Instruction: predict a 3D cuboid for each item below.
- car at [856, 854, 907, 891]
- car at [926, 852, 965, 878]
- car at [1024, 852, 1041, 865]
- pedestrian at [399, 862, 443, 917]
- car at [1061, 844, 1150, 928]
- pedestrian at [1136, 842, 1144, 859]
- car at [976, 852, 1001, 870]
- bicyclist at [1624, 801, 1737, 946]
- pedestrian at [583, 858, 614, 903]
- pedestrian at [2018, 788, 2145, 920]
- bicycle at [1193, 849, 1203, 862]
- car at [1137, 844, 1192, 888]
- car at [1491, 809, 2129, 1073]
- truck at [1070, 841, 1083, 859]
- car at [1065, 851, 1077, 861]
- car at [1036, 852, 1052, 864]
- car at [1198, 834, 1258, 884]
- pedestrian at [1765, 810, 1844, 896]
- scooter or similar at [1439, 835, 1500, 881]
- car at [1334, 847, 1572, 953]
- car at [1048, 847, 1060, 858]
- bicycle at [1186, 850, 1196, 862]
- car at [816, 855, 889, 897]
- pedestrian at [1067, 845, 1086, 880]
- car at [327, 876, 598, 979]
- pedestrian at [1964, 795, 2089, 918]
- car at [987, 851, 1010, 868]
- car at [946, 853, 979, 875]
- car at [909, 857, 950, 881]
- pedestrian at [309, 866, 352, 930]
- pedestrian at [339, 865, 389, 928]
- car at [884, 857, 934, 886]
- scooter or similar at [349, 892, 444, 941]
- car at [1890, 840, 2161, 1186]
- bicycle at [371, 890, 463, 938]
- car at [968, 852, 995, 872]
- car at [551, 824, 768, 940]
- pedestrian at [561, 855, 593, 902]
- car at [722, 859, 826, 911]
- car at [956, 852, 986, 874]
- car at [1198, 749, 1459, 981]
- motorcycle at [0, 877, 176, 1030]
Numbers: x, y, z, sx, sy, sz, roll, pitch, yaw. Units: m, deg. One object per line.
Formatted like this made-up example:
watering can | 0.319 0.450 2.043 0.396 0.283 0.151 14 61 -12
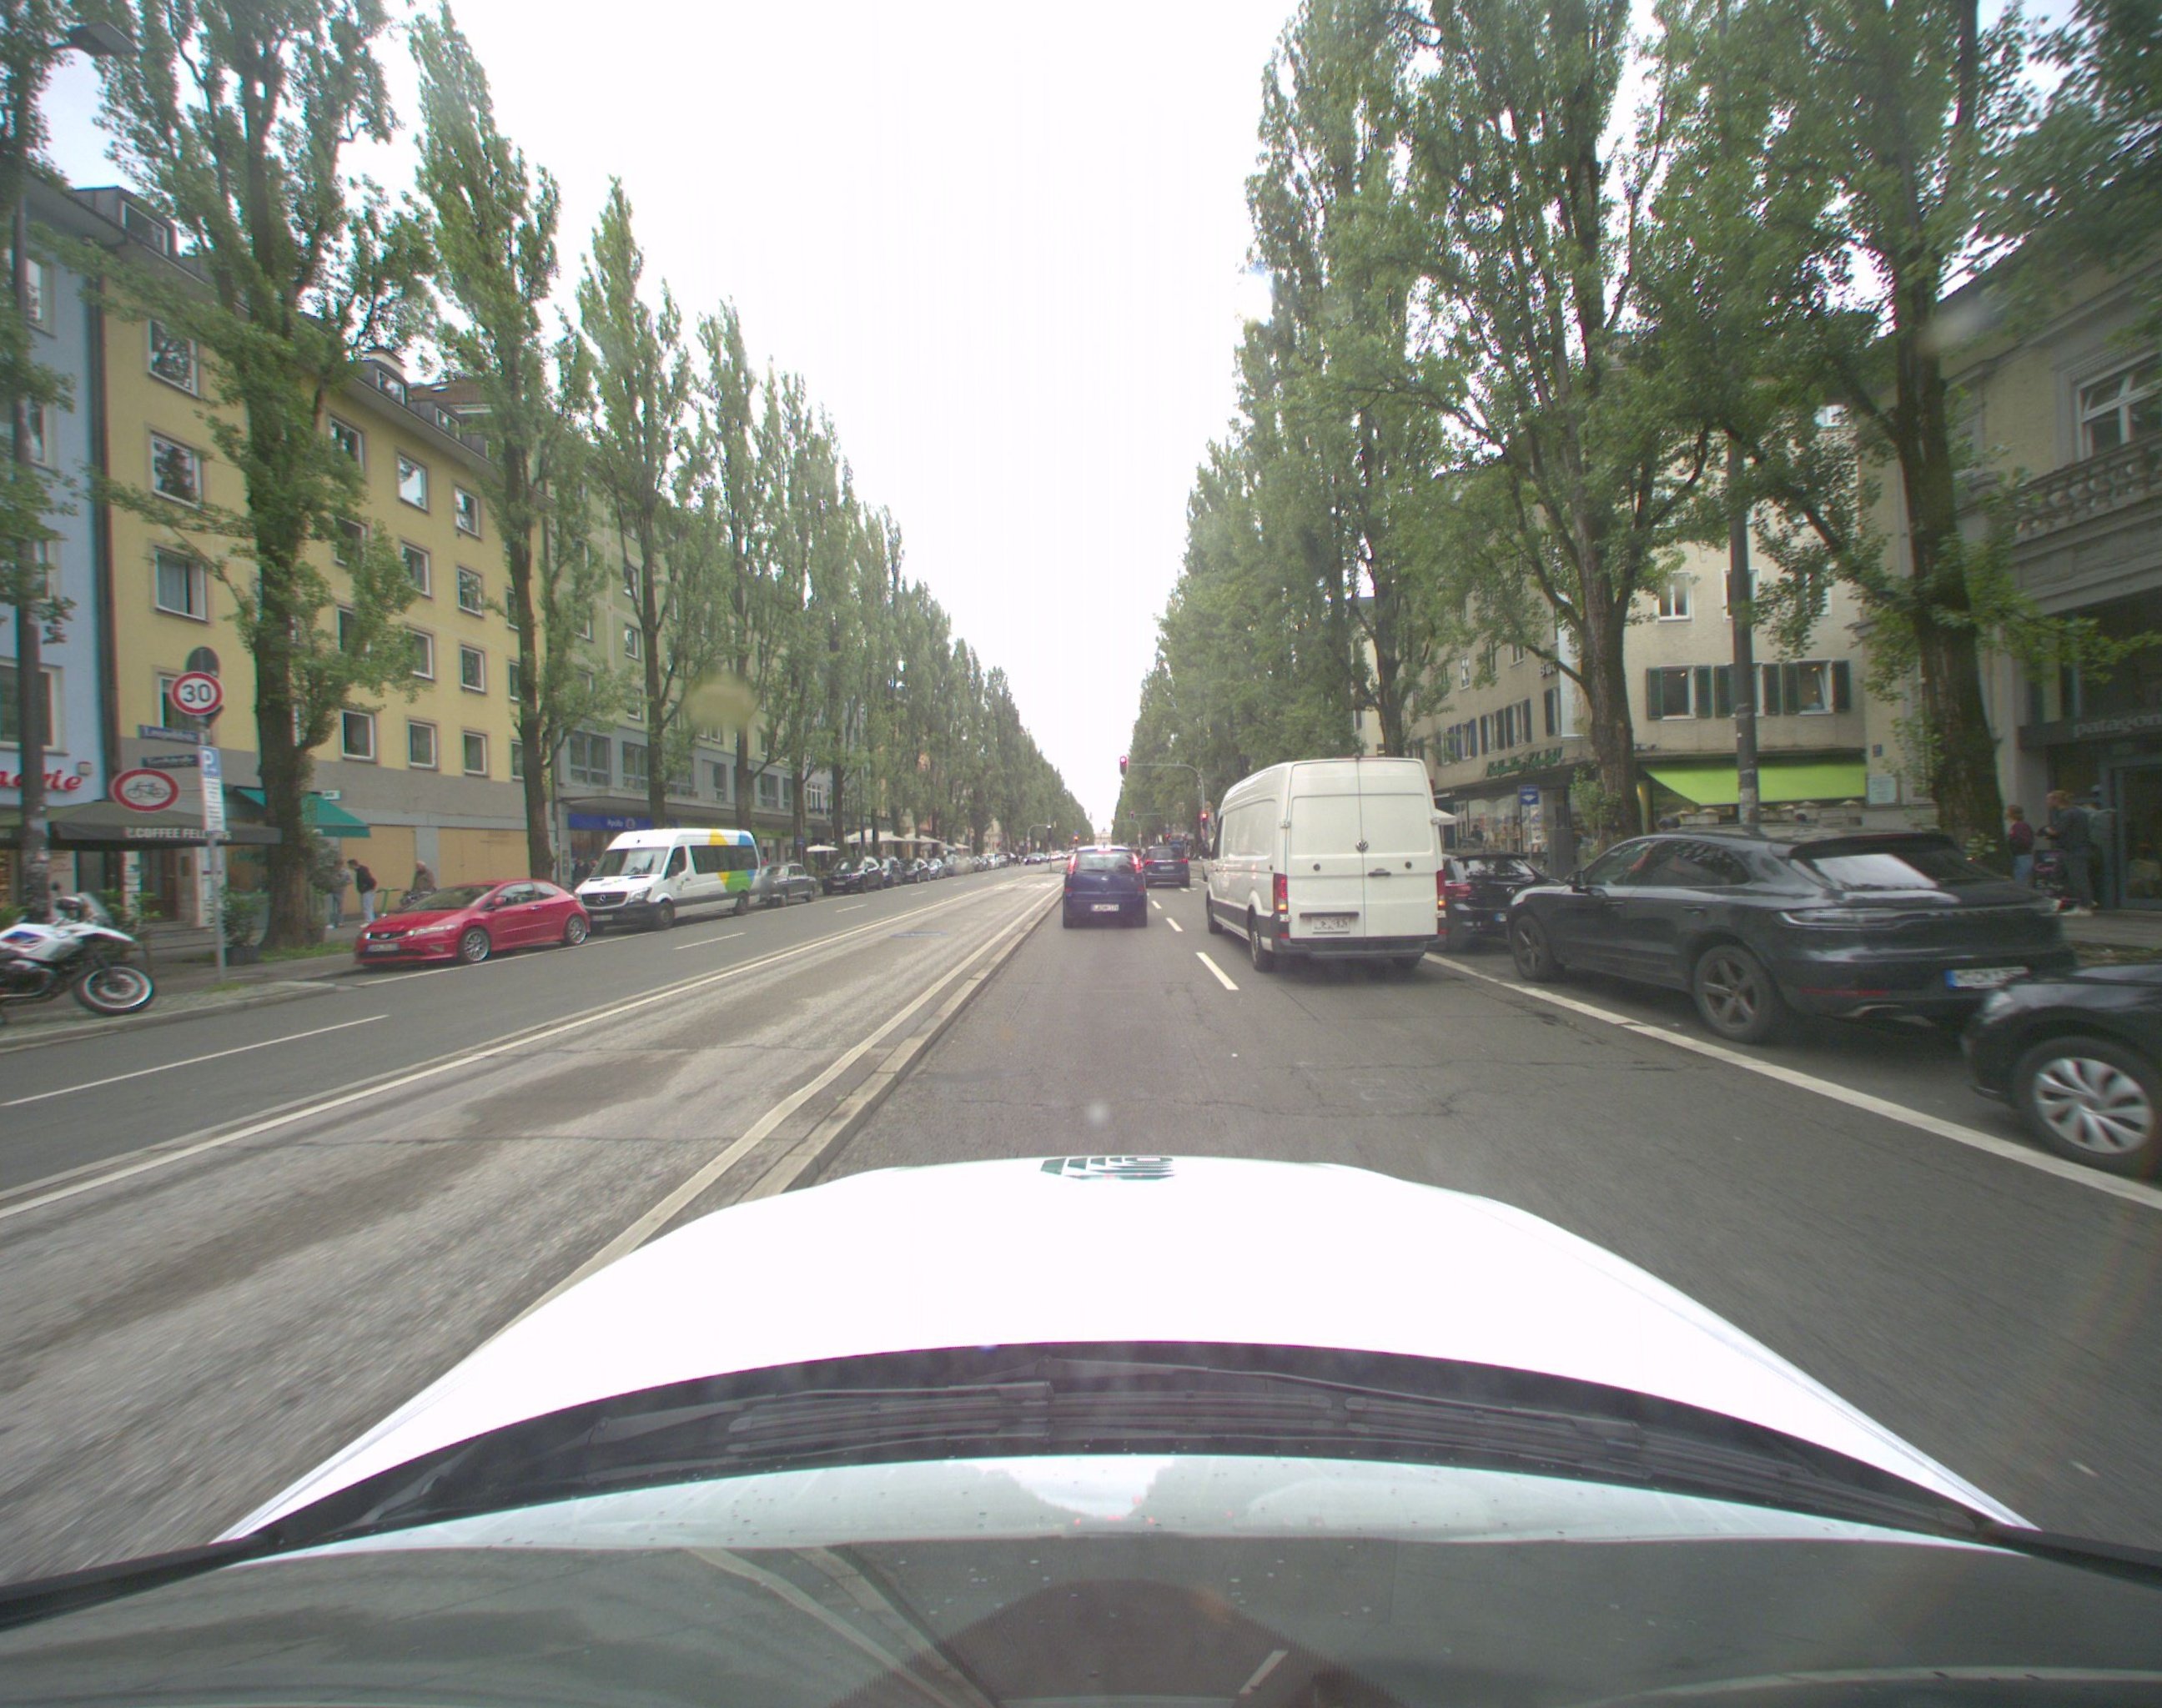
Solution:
car | -10.464 0.923 43.036 1.705 1.721 3.920 -4 0 -1
car | -9.865 0.758 59.508 1.859 1.665 4.402 -4 0 2
car | -6.014 0.520 101.118 1.691 1.462 4.714 -4 0 2
pedestrian | -20.229 1.079 24.972 0.694 1.636 0.727 -2 0 4
car | 0.536 0.597 17.468 1.665 1.568 4.002 -1 0 2
pedestrian | 6.487 -0.404 89.658 0.719 1.827 0.885 0 0 -8
car | -9.218 0.686 81.617 1.859 1.665 4.122 -4 0 1
bicyclist | 7.755 0.240 10.571 0.764 1.766 0.885 -2 0 1
pedestrian | -19.061 1.045 32.167 0.694 1.700 0.728 -2 0 6
pedestrian | 14.360 -0.009 11.712 0.772 1.796 0.873 -2 0 -12
bicycle | 12.303 0.161 85.701 0.770 1.349 2.450 -2 0 1
car | 3.297 0.438 32.632 1.889 1.622 4.002 -1 0 2
car | 5.729 0.538 7.368 1.797 1.637 4.447 -1 0 0
truck | -0.831 -0.820 165.356 2.374 3.346 7.113 -2 0 2
car | -1.661 0.303 135.569 1.728 1.465 3.366 -2 0 1
car | -4.971 0.499 109.252 1.739 1.434 4.131 -4 0 2
car | 6.231 0.187 34.932 1.781 1.946 4.732 -2 0 1
pedestrian | 14.713 -0.021 16.588 0.795 1.677 0.877 -2 0 1
scooter or similar | 12.451 0.088 26.184 0.634 1.376 2.493 -3 1 -2
car | 5.692 0.605 13.134 1.705 1.393 4.340 -1 0 -2
car | -4.526 -0.293 137.093 1.859 1.665 4.122 -2 0 1
bicycle | 12.387 0.191 91.835 0.770 1.349 2.450 -2 0 1
car | -10.457 0.964 37.657 1.859 1.664 4.612 -4 0 2
pedestrian | -0.215 0.421 39.790 0.857 1.684 0.626 -2 0 -2
car | -11.260 1.244 15.273 1.731 1.419 4.150 -4 0 2
pedestrian | 13.564 0.033 11.706 0.798 1.677 0.873 -2 0 -13
car | -9.012 0.608 88.892 1.859 1.665 4.122 -4 0 1
car | -9.611 0.785 66.076 1.859 1.665 4.122 -4 0 1
car | -9.972 0.967 53.964 1.727 1.425 4.145 -4 0 2
pedestrian | -19.623 1.147 21.300 0.691 1.636 0.567 -2 0 25
pedestrian | -19.130 1.129 21.731 0.691 1.636 0.731 -2 0 26
car | -10.162 0.997 48.407 1.792 1.488 4.352 -4 0 2
scooter or similar | -15.805 1.433 18.815 1.768 1.026 0.421 -3 0 -2
car | 5.352 0.663 2.555 1.689 1.416 3.950 -2 0 0
bicycle | -15.840 1.435 19.454 1.768 1.026 0.421 -3 0 -2
car | -9.299 0.709 76.354 1.859 1.665 4.122 -4 0 1
car | -11.037 0.624 22.226 1.998 2.567 6.914 -4 0 2
pedestrian | -19.954 0.969 32.254 0.694 1.795 0.728 -2 0 6
car | -10.908 1.059 29.327 1.859 1.552 4.416 -4 0 2
car | -9.558 0.759 70.829 1.859 1.665 4.122 -4 0 1
car | 3.183 0.099 12.263 2.055 2.492 6.733 -1 0 2
motorcycle | -11.693 1.084 8.867 2.360 1.563 0.706 -1 0 -41
